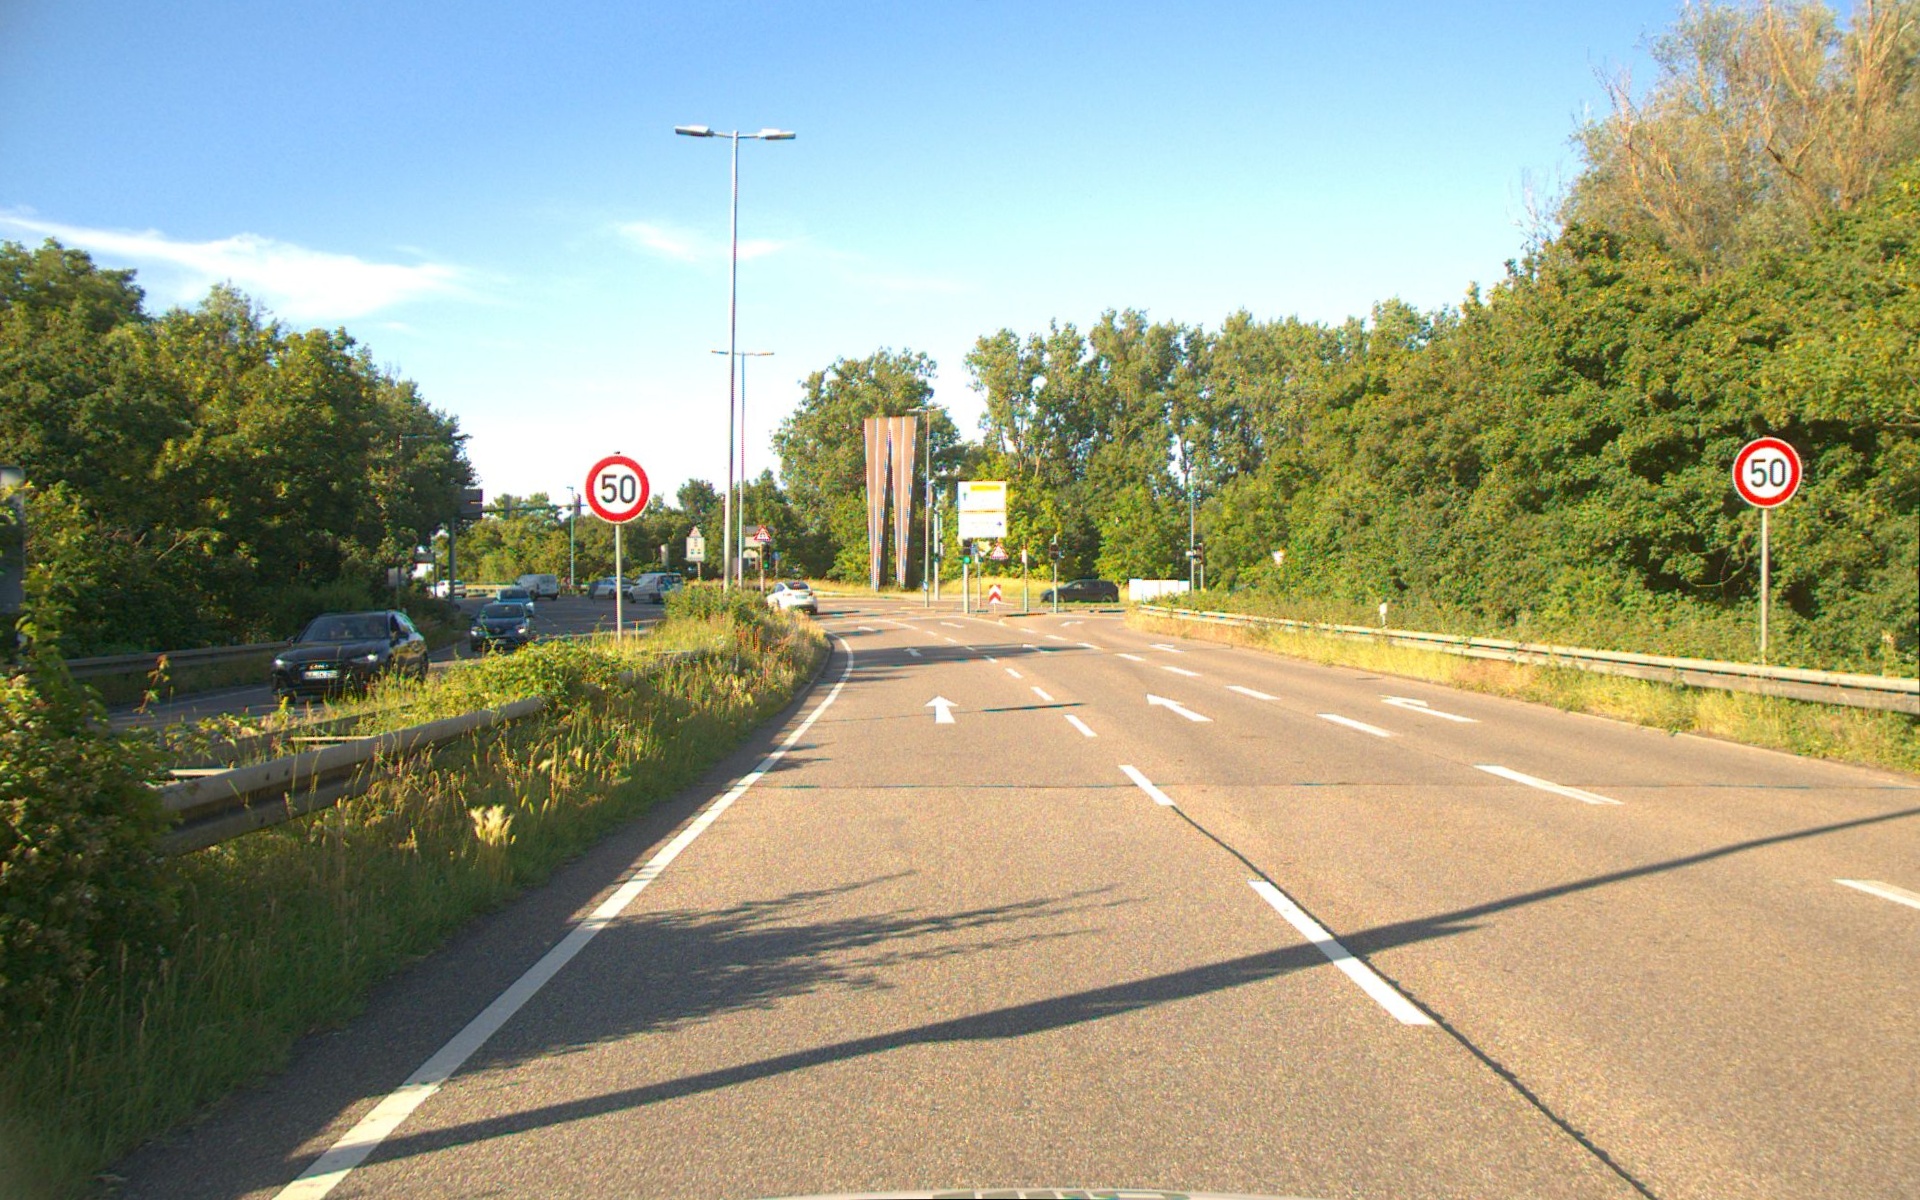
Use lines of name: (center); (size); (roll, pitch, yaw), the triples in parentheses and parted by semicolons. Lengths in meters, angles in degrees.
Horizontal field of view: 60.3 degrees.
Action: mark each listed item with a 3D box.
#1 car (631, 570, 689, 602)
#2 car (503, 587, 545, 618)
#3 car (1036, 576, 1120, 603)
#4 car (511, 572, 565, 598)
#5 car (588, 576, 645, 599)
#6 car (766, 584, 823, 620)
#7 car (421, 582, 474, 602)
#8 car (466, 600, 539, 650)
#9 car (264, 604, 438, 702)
car: (-18.681, -0.886, 102.785); (1.977, 1.912, 4.198); (-2, 1, -34)
car: (-22.755, 0.111, 86.157); (1.856, 1.547, 4.195); (-2, 1, -18)
car: (6.620, -0.605, 92.722); (4.377, 1.489, 1.996); (0, 1, -10)
car: (-29.775, -1.083, 116.640); (3.932, 1.728, 1.962); (1, 2, 44)
car: (-23.892, -0.865, 114.858); (4.085, 1.500, 1.962); (1, 2, 45)
car: (-8.217, 0.077, 81.875); (1.963, 1.668, 4.106); (-1, 1, -19)
car: (-40.425, -0.616, 130.428); (3.928, 1.534, 2.261); (0, 0, 42)
car: (-14.636, 0.757, 53.105); (1.852, 1.445, 4.352); (-3, 1, -11)
car: (-10.159, 0.824, 27.934); (1.771, 1.441, 4.524); (-2, 0, -8)
